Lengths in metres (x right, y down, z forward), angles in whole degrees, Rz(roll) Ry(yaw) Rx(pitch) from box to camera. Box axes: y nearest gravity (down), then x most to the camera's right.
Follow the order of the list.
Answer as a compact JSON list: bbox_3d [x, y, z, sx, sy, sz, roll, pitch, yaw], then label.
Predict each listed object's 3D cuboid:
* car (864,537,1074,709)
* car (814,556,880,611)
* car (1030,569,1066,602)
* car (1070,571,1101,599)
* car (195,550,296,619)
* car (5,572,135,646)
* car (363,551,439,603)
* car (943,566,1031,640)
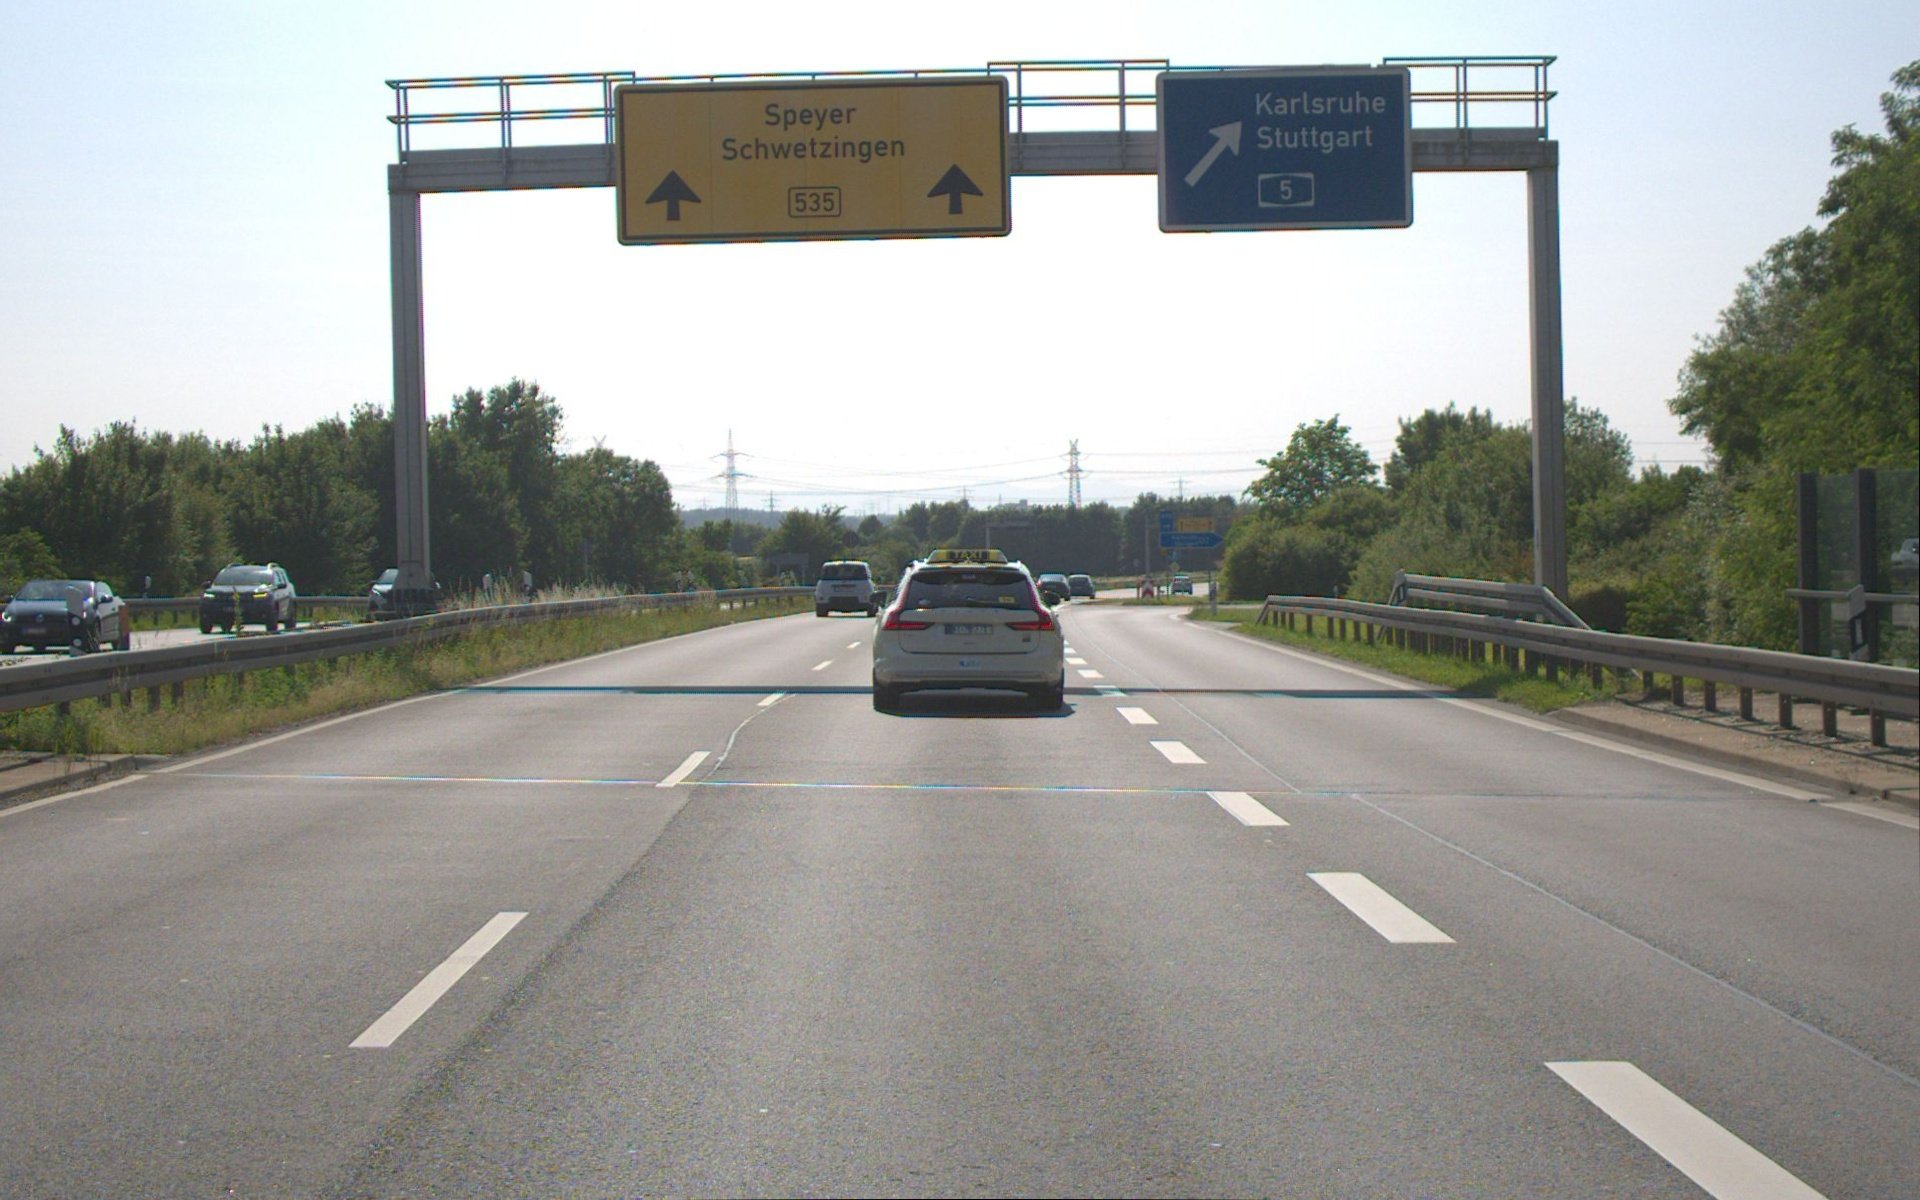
[{"bbox_3d":[0.027,0.183,34.705,1.958,1.596,4.107,1,1,-2],"label":"car"},{"bbox_3d":[-3.136,-0.469,95.973,1.793,1.498,4.043,0,0,-2],"label":"car"},{"bbox_3d":[4.798,-0.791,188.027,1.841,1.796,4.000,0,0,0],"label":"car"},{"bbox_3d":[7.785,-0.932,214.194,1.841,1.692,4.000,0,0,1],"label":"car"},{"bbox_3d":[-17.330,-0.398,83.514,1.732,1.611,4.003,0,1,-2],"label":"car"},{"bbox_3d":[-16.508,0.148,63.909,1.566,1.265,3.716,0,1,-2],"label":"car"},{"bbox_3d":[-17.898,-0.742,110.226,1.901,1.615,4.630,1,1,-3],"label":"car"},{"bbox_3d":[0.552,0.047,73.113,1.793,1.538,3.672,0,0,-1],"label":"car"}]
